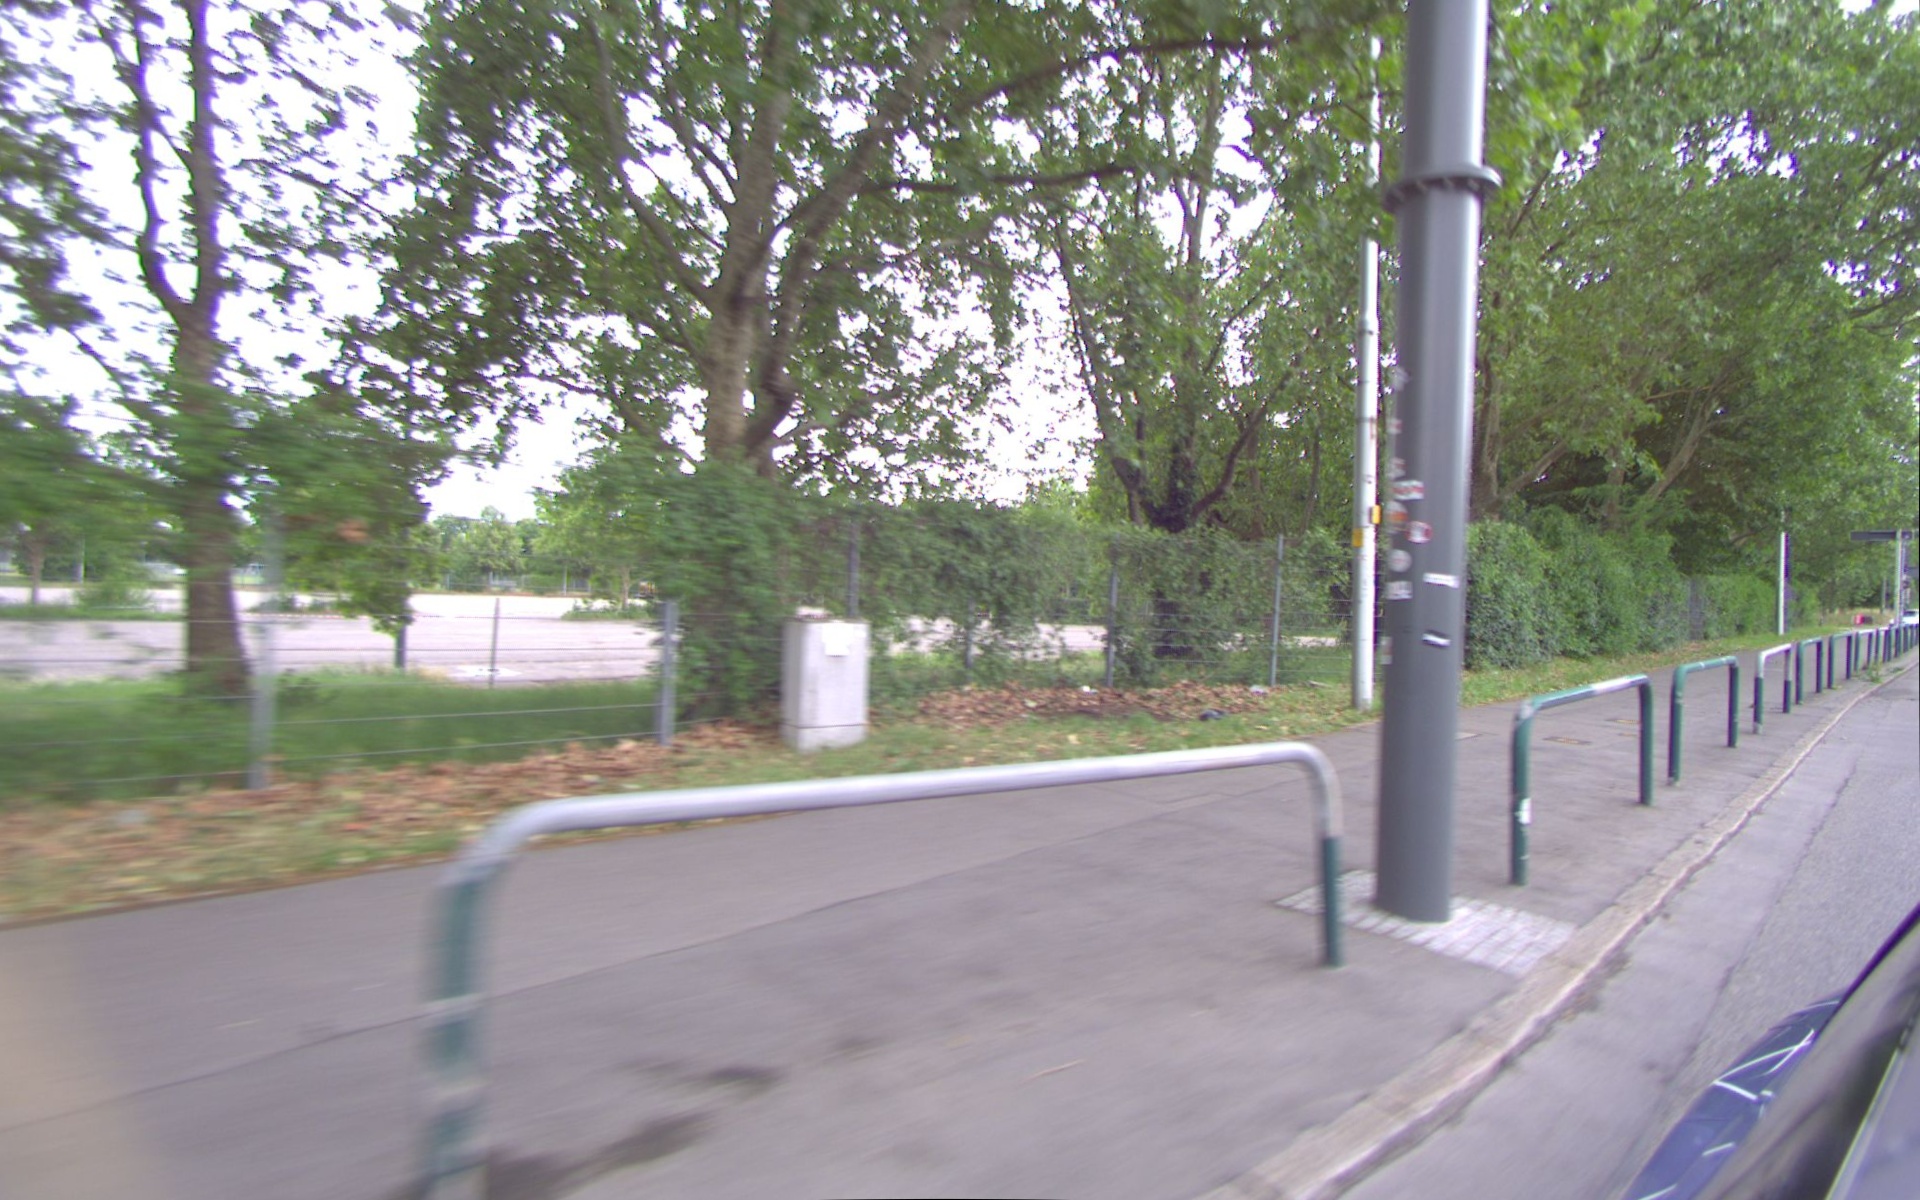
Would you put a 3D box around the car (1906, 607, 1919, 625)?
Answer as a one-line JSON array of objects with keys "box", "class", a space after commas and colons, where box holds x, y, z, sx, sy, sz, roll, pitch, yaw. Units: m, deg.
[{"box": [77.988, 1.284, 81.516, 3.797, 1.388, 1.743, 1, 1, -34], "class": "car"}]
